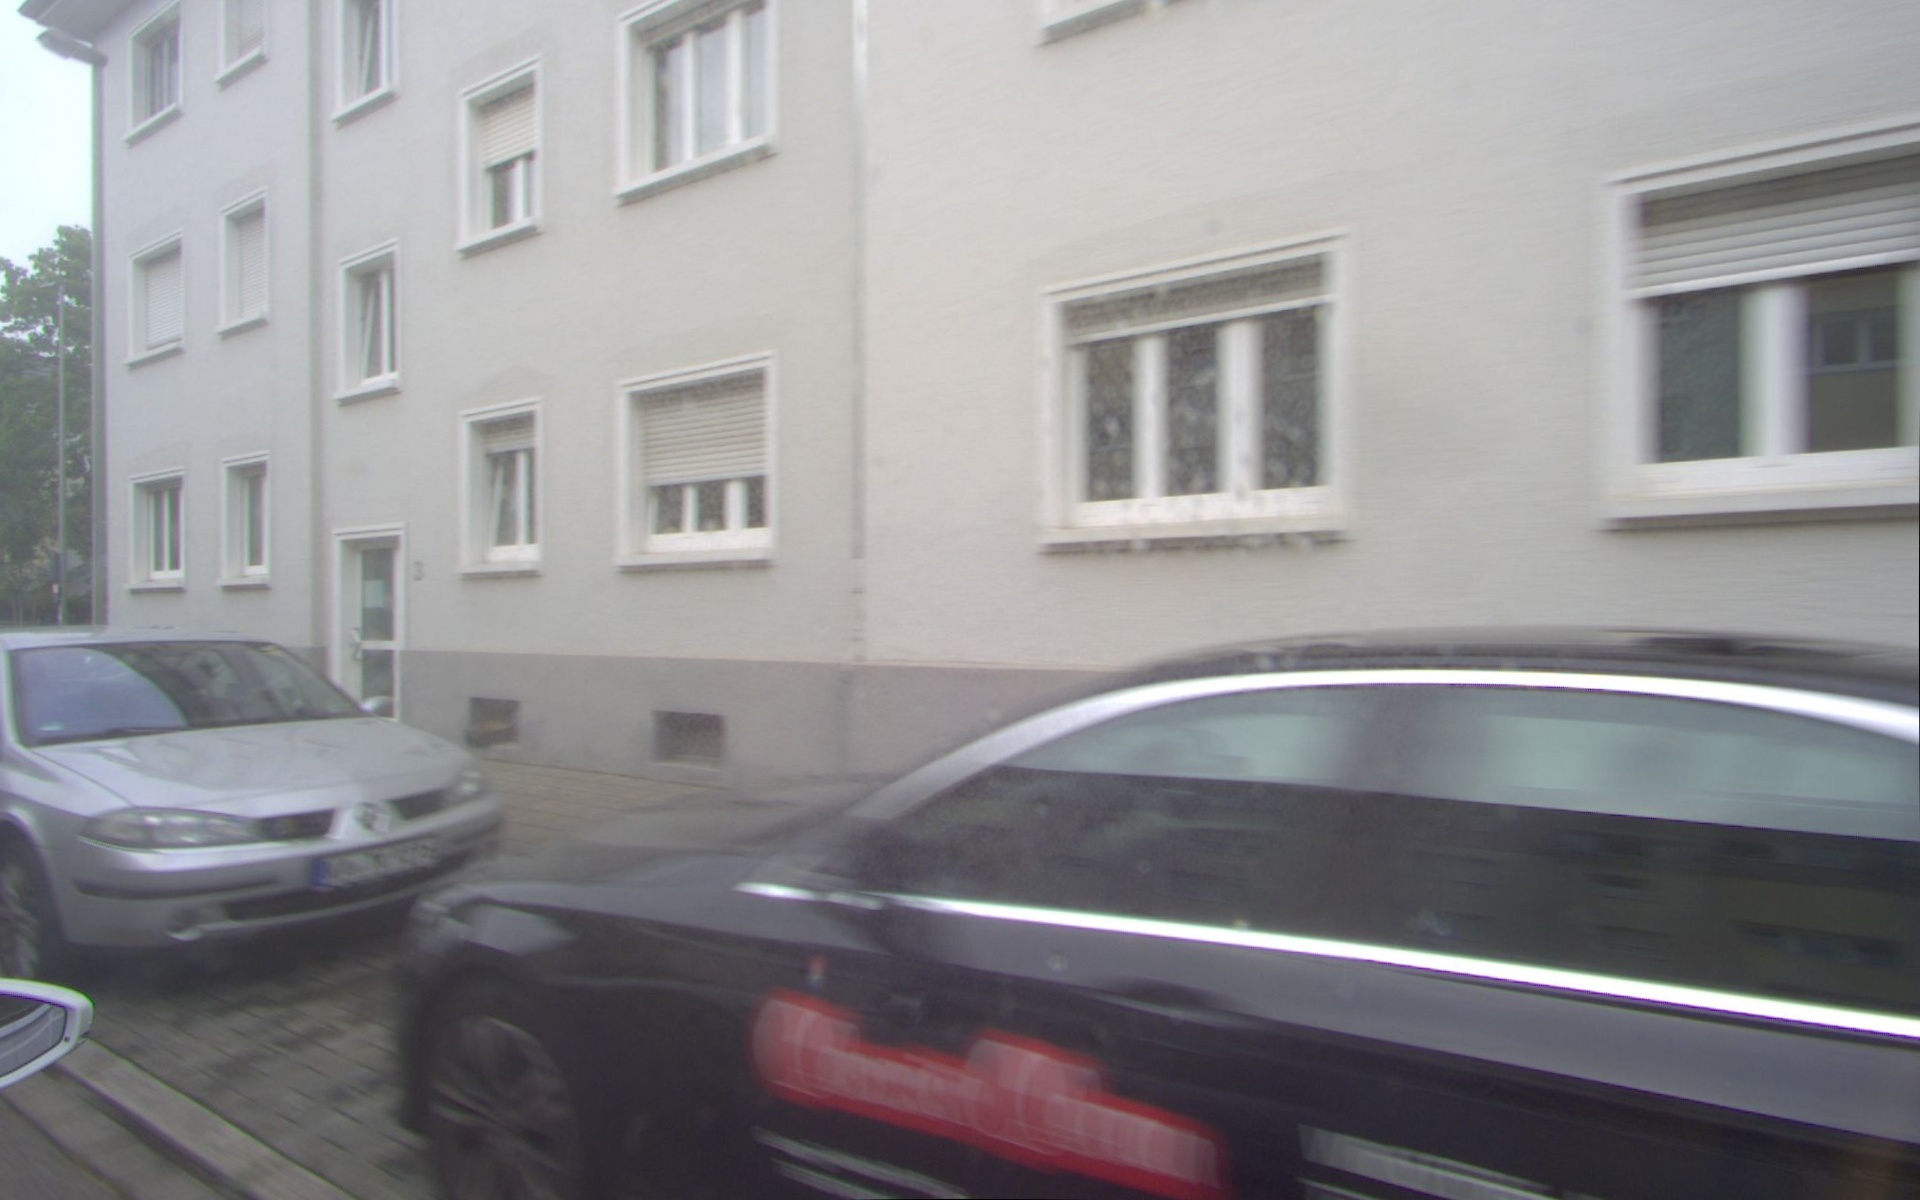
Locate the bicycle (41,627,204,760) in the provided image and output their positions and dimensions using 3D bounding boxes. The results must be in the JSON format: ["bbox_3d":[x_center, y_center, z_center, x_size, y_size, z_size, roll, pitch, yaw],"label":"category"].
[{"bbox_3d":[-8.721,0.923,10.410,1.868,1.217,0.747,0,2,33],"label":"bicycle"}]

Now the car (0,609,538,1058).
[{"bbox_3d":[-4.344,0.798,5.218,4.365,1.482,1.730,0,0,31],"label":"car"}]

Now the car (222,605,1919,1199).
[{"bbox_3d":[0.327,0.764,2.307,4.259,1.482,1.779,0,0,31],"label":"car"}]
